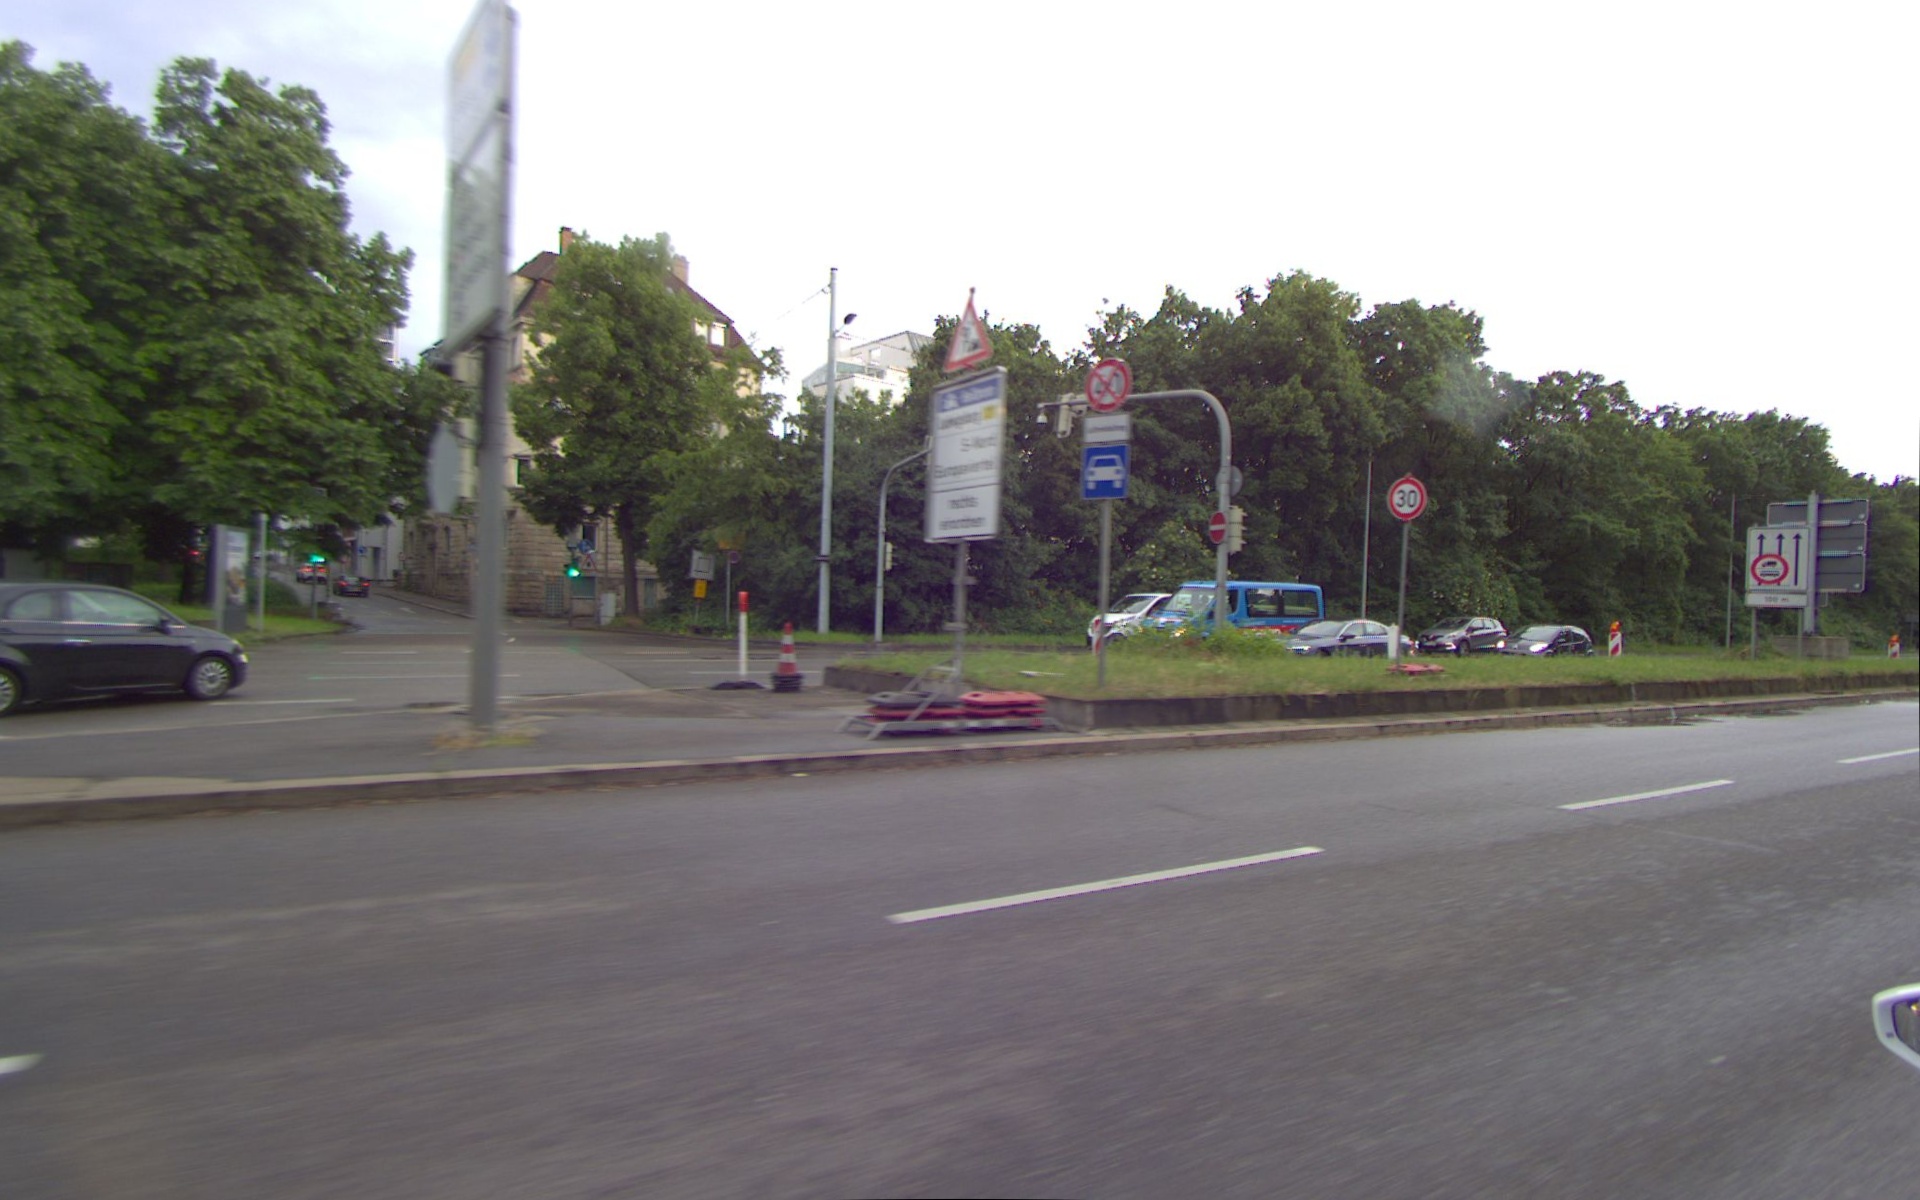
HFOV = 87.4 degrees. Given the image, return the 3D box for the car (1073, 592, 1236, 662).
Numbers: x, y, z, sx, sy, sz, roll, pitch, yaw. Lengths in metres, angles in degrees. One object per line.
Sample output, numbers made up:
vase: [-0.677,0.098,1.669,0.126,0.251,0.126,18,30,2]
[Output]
car: [6.099,0.787,31.304,4.933,2.001,2.024,0,1,-31]

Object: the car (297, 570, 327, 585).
car: [-53.248,-1.840,82.537,1.579,1.179,3.462,2,0,-40]

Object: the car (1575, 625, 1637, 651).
car: [29.424,1.724,45.725,2.761,1.100,1.263,0,1,-31]

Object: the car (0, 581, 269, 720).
car: [-10.443,0.533,11.847,1.560,1.460,3.504,1,0,20]

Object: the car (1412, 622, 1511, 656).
car: [19.384,1.507,38.795,3.884,1.216,1.541,2,0,-31]

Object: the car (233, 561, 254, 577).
car: [-80.030,-3.465,112.154,1.579,1.680,3.462,2,0,-40]

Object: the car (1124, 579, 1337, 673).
car: [7.731,0.663,28.441,6.172,2.423,2.184,0,1,-31]

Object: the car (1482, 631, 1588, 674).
car: [17.785,1.606,31.061,3.262,1.216,1.422,2,0,-31]

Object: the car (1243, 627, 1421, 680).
car: [9.458,1.337,25.442,4.587,1.216,1.543,2,0,-27]

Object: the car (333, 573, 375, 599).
car: [-40.996,-0.958,67.957,1.863,1.680,3.462,2,0,-41]
